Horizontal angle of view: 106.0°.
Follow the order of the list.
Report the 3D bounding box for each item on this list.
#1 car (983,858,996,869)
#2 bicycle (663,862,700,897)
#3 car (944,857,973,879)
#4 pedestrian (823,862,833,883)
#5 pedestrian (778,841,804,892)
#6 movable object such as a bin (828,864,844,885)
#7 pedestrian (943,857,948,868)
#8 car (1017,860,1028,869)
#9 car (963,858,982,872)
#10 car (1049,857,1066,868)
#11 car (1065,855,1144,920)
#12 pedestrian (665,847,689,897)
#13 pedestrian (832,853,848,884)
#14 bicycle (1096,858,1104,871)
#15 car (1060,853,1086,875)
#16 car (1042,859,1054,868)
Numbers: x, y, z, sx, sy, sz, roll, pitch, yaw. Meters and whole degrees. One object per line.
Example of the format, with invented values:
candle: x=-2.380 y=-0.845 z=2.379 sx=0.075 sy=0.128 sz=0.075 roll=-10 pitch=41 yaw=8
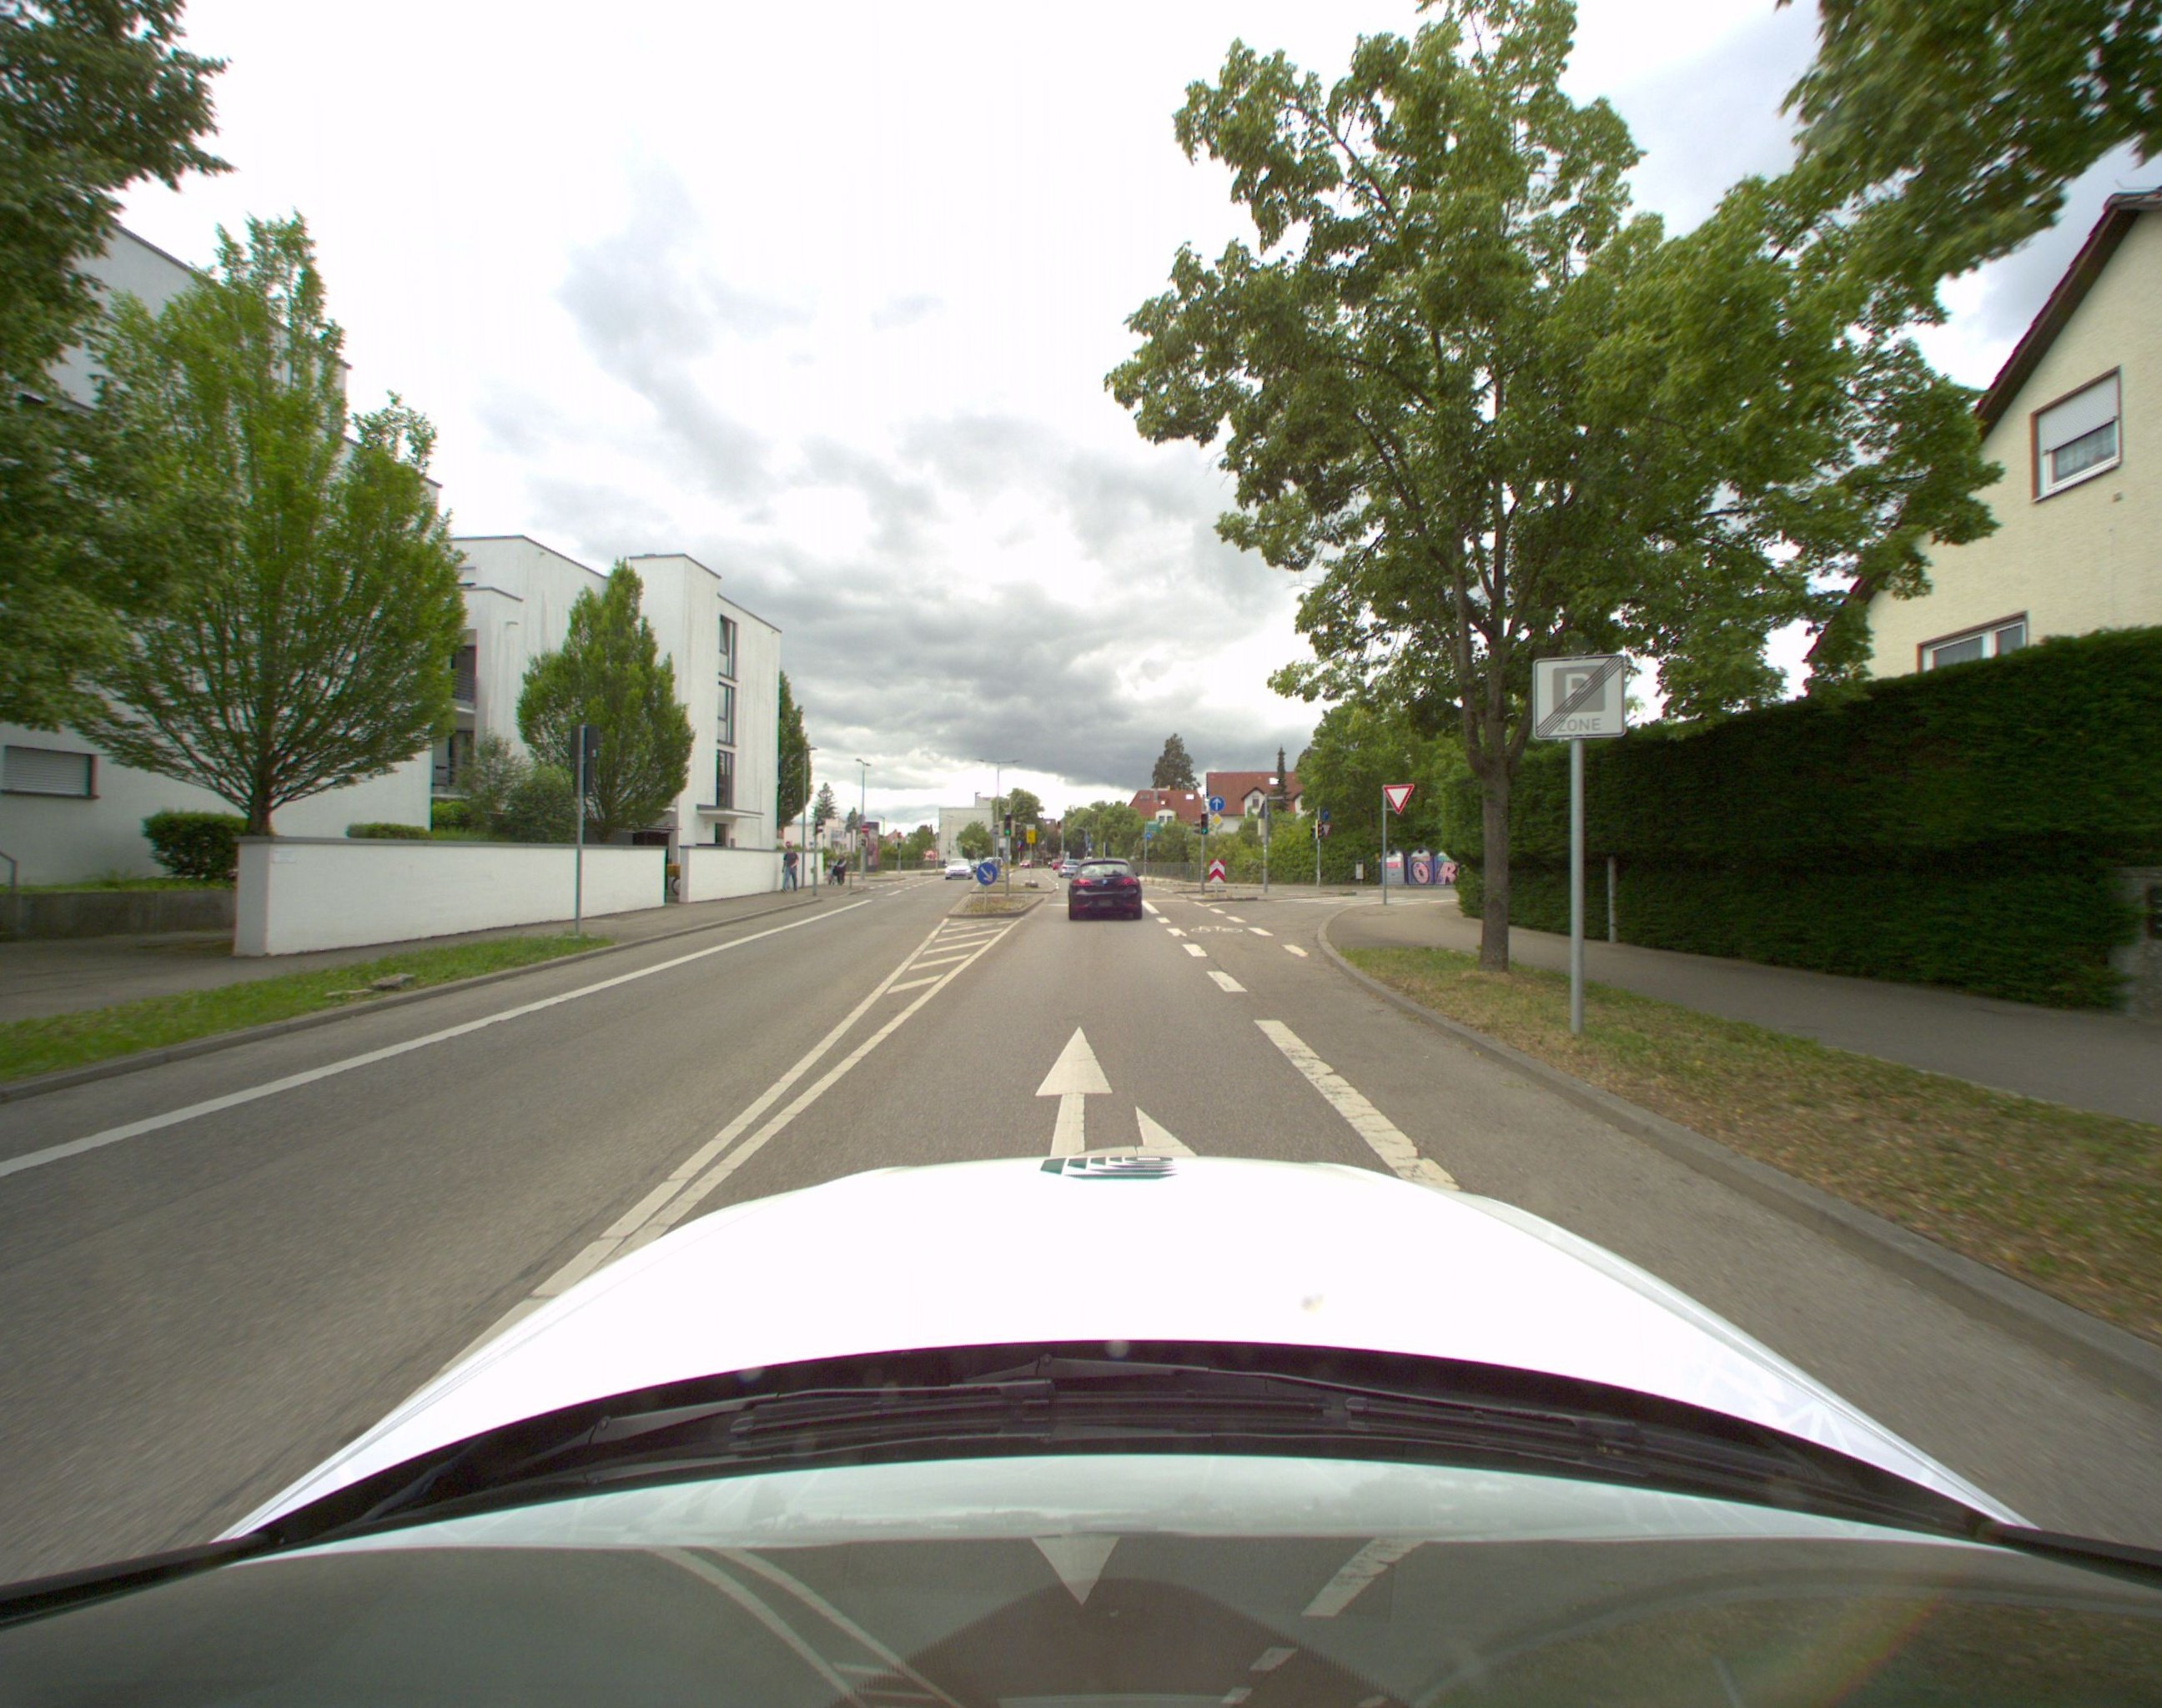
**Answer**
car: x=-11.610 y=1.223 z=103.655 sx=1.640 sy=1.409 sz=3.811 roll=1 pitch=-1 yaw=-6
bicycle: x=-13.848 y=0.870 z=28.276 sx=0.507 sy=1.164 sz=1.653 roll=-1 pitch=0 yaw=-2
car: x=-8.510 y=0.970 z=57.013 sx=1.796 sy=1.444 sz=3.940 roll=0 pitch=-1 yaw=-6
pedestrian: x=-12.910 y=0.949 z=41.623 sx=0.325 sy=1.062 sz=0.443 roll=4 pitch=-1 yaw=-5
pedestrian: x=-11.434 y=0.496 z=32.130 sx=0.647 sy=1.948 sz=0.870 roll=3 pitch=-1 yaw=-4
movable object such as a bin: x=-12.306 y=1.029 z=40.967 sx=0.496 sy=0.960 sz=0.984 roll=4 pitch=-1 yaw=-6
pedestrian: x=-19.023 y=1.194 z=114.264 sx=0.656 sy=1.633 sz=1.067 roll=2 pitch=-1 yaw=-10
car: x=-9.257 y=1.644 z=128.378 sx=1.718 sy=1.448 sz=4.058 roll=1 pitch=-1 yaw=-6
car: x=-10.637 y=1.061 z=80.113 sx=1.718 sy=1.391 sz=3.910 roll=0 pitch=-1 yaw=-6
car: x=-3.101 y=1.122 z=108.360 sx=1.939 sy=1.481 sz=4.244 roll=0 pitch=0 yaw=-6
car: x=0.527 y=0.753 z=20.147 sx=1.754 sy=1.449 sz=3.713 roll=-1 pitch=0 yaw=0
pedestrian: x=-13.836 y=0.609 z=27.890 sx=0.526 sy=1.699 sz=0.603 roll=0 pitch=-1 yaw=-2
pedestrian: x=-12.345 y=0.759 z=41.779 sx=0.530 sy=1.543 sz=0.730 roll=5 pitch=-1 yaw=-6
bicycle: x=2.263 y=1.177 z=96.266 sx=0.888 sy=1.510 sz=2.784 roll=0 pitch=0 yaw=2
car: x=-0.689 y=0.770 z=66.477 sx=1.816 sy=1.699 sz=4.244 roll=0 pitch=0 yaw=-6
car: x=-6.042 y=1.688 z=149.203 sx=1.820 sy=1.626 sz=4.270 roll=0 pitch=-1 yaw=-6
